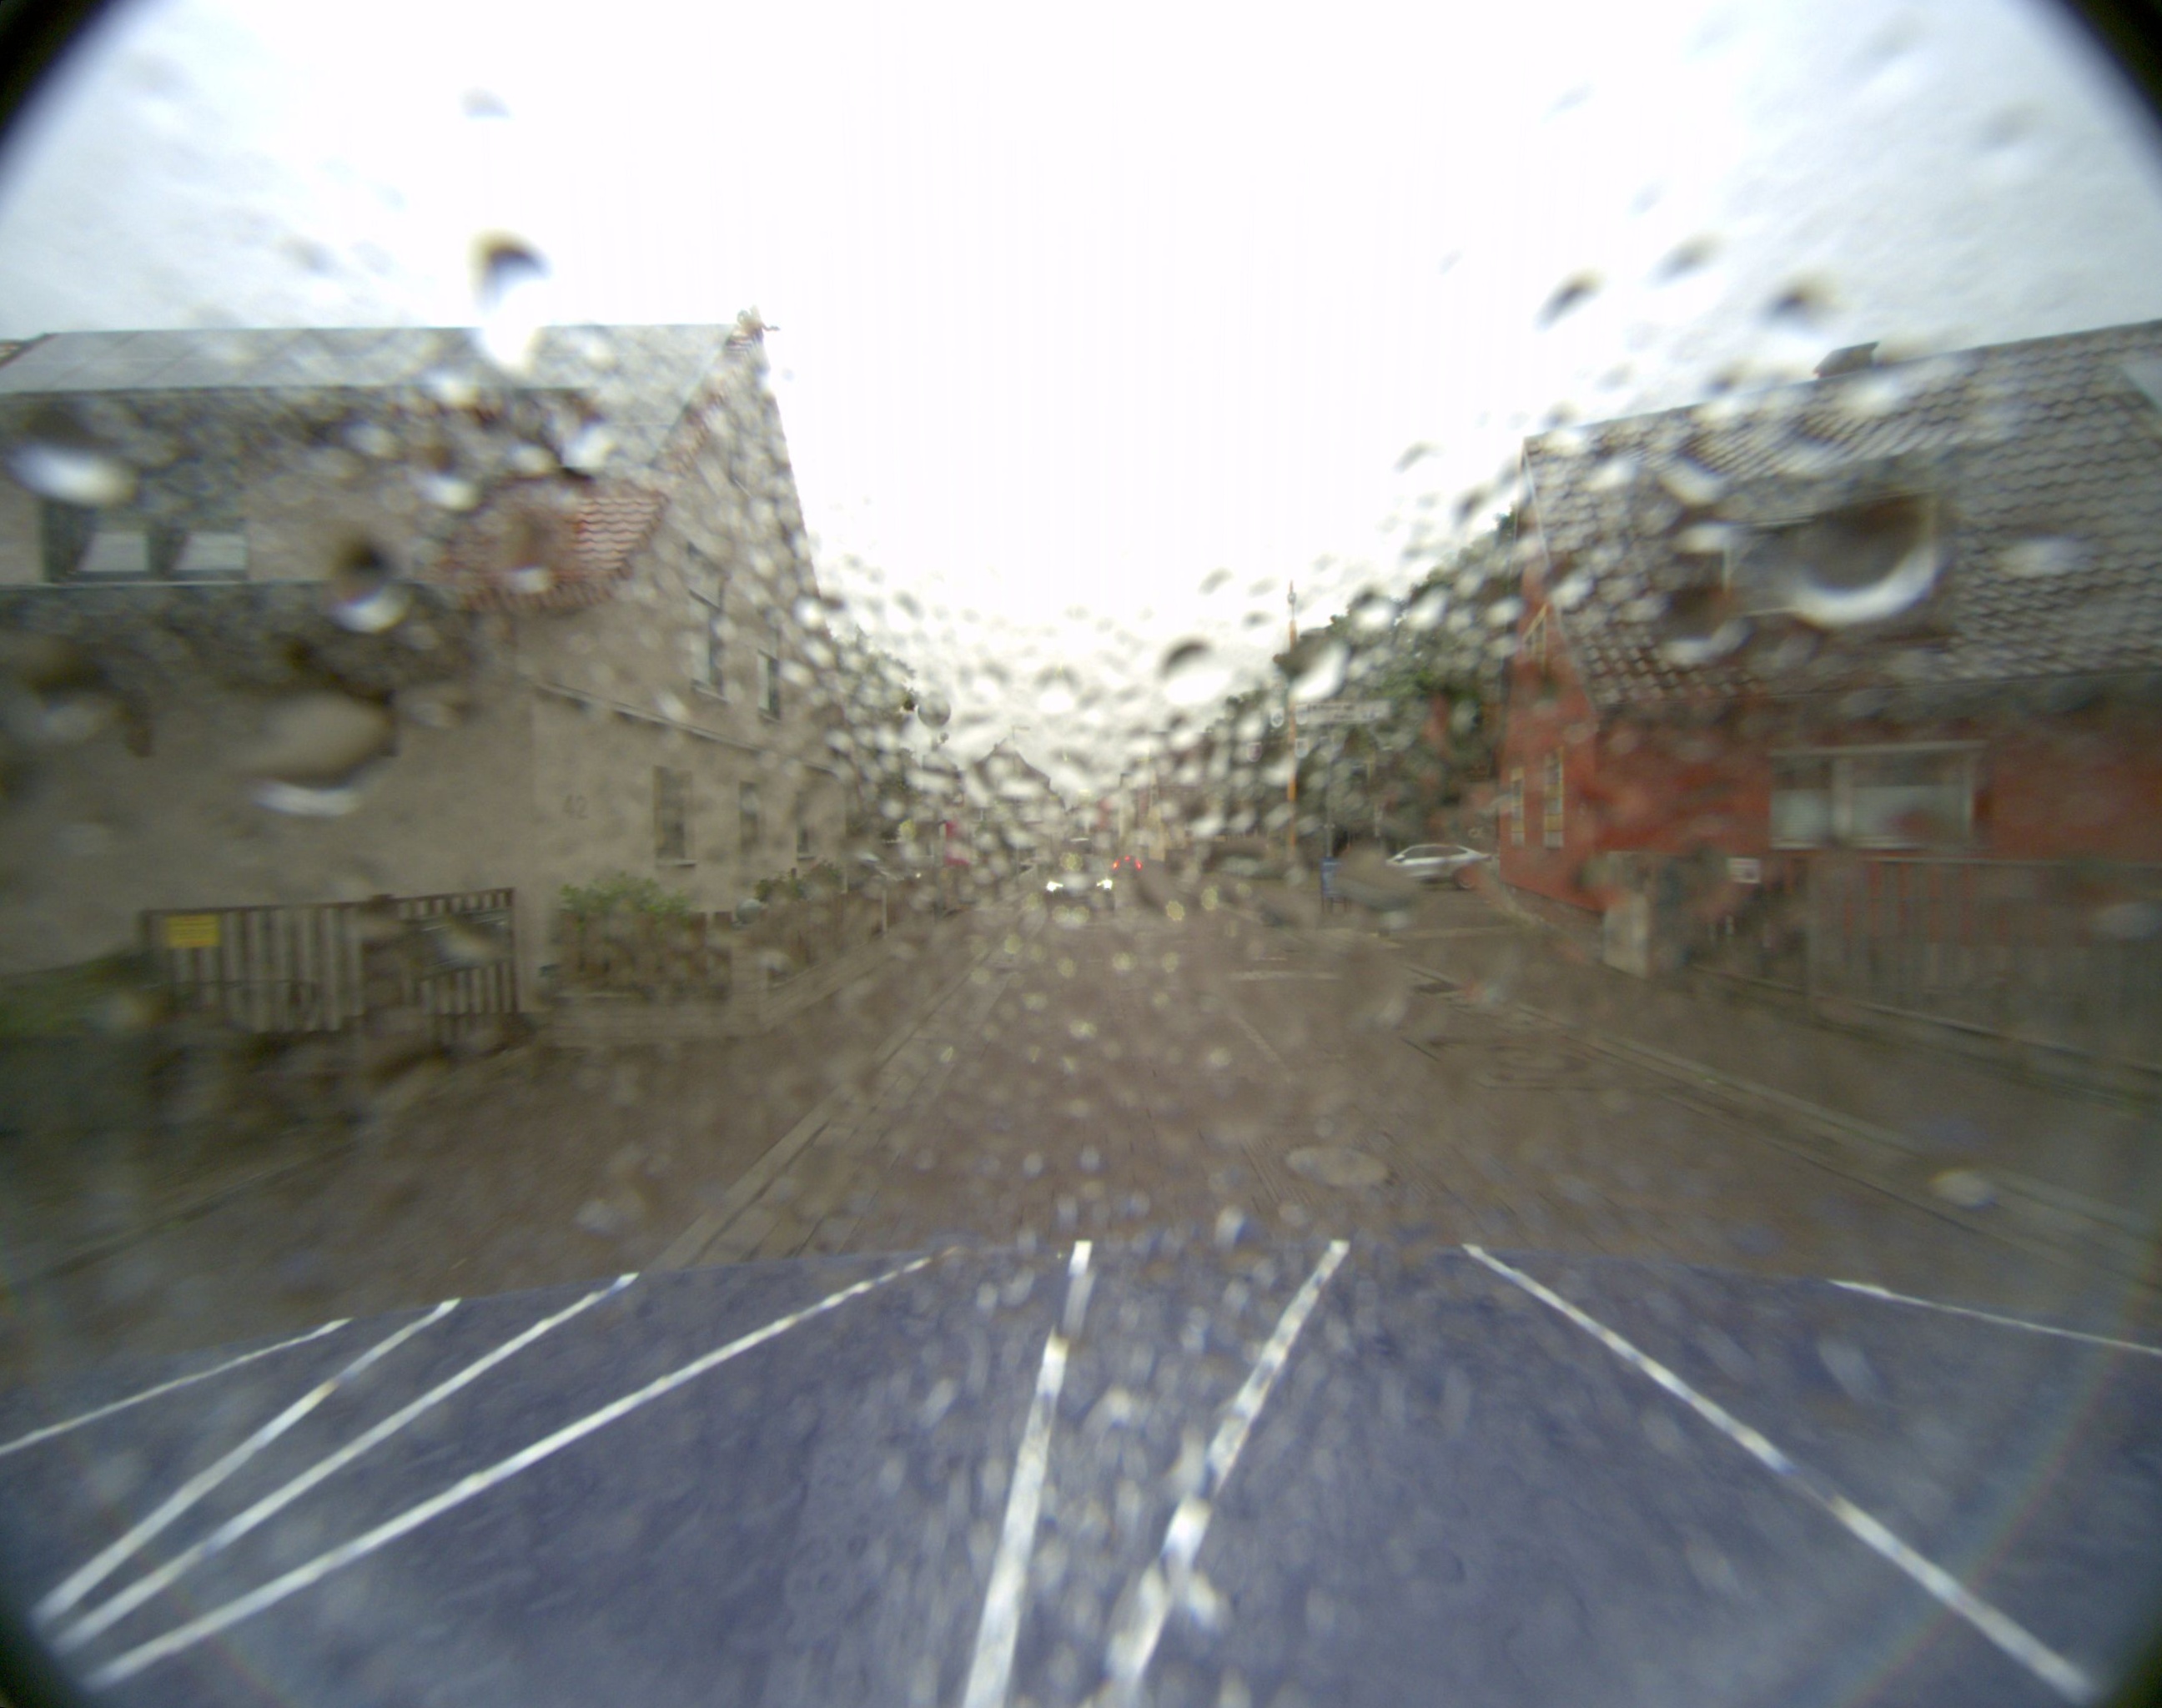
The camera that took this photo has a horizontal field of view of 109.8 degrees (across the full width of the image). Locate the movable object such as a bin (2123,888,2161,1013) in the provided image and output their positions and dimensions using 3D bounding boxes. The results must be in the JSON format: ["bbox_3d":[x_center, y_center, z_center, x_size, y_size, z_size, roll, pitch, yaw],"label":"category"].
[{"bbox_3d":[9.539,0.835,6.395,0.646,1.050,0.621,0,2,18],"label":"movable object such as a bin"}]

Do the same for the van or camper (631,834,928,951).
[{"bbox_3d":[-5.839,0.710,15.230,5.083,1.912,1.875,-3,1,-2],"label":"van or camper"}]

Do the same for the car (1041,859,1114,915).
[{"bbox_3d":[-0.023,0.841,20.838,1.800,1.342,3.738,-1,0,2],"label":"car"}]

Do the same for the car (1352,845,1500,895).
[{"bbox_3d":[11.762,0.552,26.176,4.450,1.541,1.885,-2,0,21],"label":"car"}]

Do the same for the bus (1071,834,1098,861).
[{"bbox_3d":[0.392,-1.052,112.307,2.894,3.590,11.970,-1,2,-5],"label":"bus"}]

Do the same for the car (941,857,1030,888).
[{"bbox_3d":[-4.923,0.969,39.326,4.233,1.472,1.697,-1,1,16],"label":"car"}]

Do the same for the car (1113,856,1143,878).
[{"bbox_3d":[3.257,0.912,53.496,1.848,1.468,4.314,0,0,0],"label":"car"}]

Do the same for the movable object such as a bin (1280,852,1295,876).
[{"bbox_3d":[10.390,0.507,38.213,0.563,1.140,0.604,-1,3,-2],"label":"movable object such as a bin"}]
